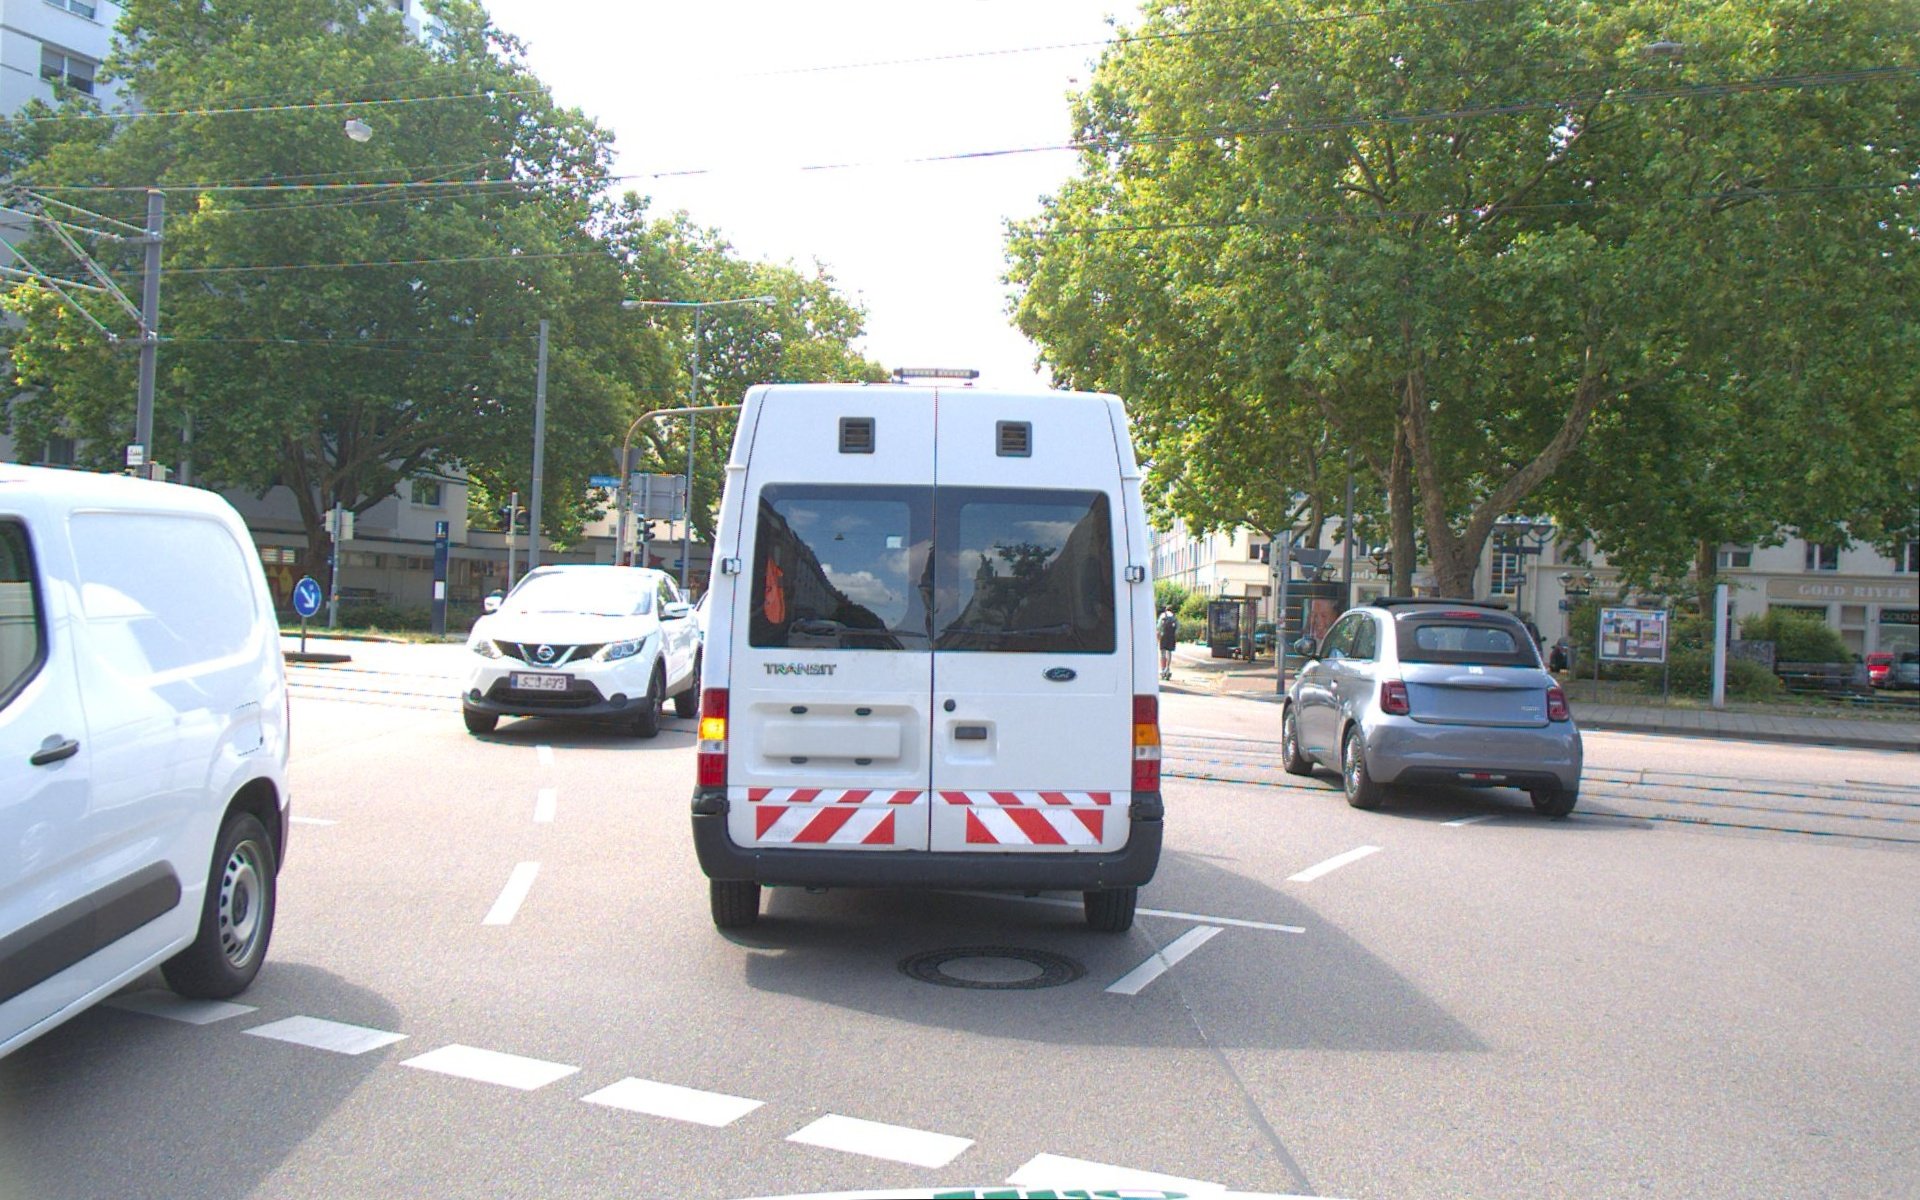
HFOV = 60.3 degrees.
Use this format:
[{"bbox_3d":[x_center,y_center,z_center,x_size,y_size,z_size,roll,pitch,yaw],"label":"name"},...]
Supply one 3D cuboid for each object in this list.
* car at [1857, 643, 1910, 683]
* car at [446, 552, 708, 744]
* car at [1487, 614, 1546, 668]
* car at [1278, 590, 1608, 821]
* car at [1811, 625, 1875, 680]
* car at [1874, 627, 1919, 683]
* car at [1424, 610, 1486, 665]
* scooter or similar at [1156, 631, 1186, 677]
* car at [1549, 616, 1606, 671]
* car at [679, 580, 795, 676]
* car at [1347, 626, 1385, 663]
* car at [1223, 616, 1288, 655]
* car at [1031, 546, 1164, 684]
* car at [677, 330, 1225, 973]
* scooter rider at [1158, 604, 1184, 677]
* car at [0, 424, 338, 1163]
[{"bbox_3d":[41.072,2.795,73.616,1.704,1.666,3.997,2,-1,25],"label":"car"},{"bbox_3d":[-3.670,0.400,16.542,1.735,1.610,4.019,3,0,-2],"label":"car"},{"bbox_3d":[23.460,1.735,69.619,1.954,2.112,3.998,2,-1,24],"label":"car"},{"bbox_3d":[3.737,0.735,13.400,1.657,1.564,3.468,2,0,1],"label":"car"},{"bbox_3d":[34.909,2.060,65.460,1.954,2.049,3.997,2,-1,25],"label":"car"},{"bbox_3d":[36.919,2.140,64.215,1.953,2.049,3.999,2,-1,22],"label":"car"},{"bbox_3d":[21.097,1.600,70.328,1.954,2.221,4.255,2,-1,24],"label":"car"},{"bbox_3d":[5.433,1.383,42.663,0.538,1.110,1.291,2,0,-1],"label":"scooter or similar"},{"bbox_3d":[25.534,1.803,68.310,1.954,2.112,3.998,2,-1,24],"label":"car"},{"bbox_3d":[-3.869,0.454,29.215,1.712,1.567,3.929,0,0,-3],"label":"car"},{"bbox_3d":[16.761,1.822,68.259,1.434,1.413,3.069,2,-1,15],"label":"car"},{"bbox_3d":[13.290,1.590,74.113,1.986,1.628,4.538,2,-1,21],"label":"car"},{"bbox_3d":[2.902,0.304,36.383,2.077,2.687,6.325,2,0,-2],"label":"car"},{"bbox_3d":[-0.143,0.187,8.647,2.006,2.373,4.711,2,0,-3],"label":"car"},{"bbox_3d":[5.447,1.041,42.757,0.515,1.843,0.649,2,0,-1],"label":"scooter rider"},{"bbox_3d":[-3.232,0.450,4.266,1.776,1.806,4.281,1,1,-3],"label":"car"}]
